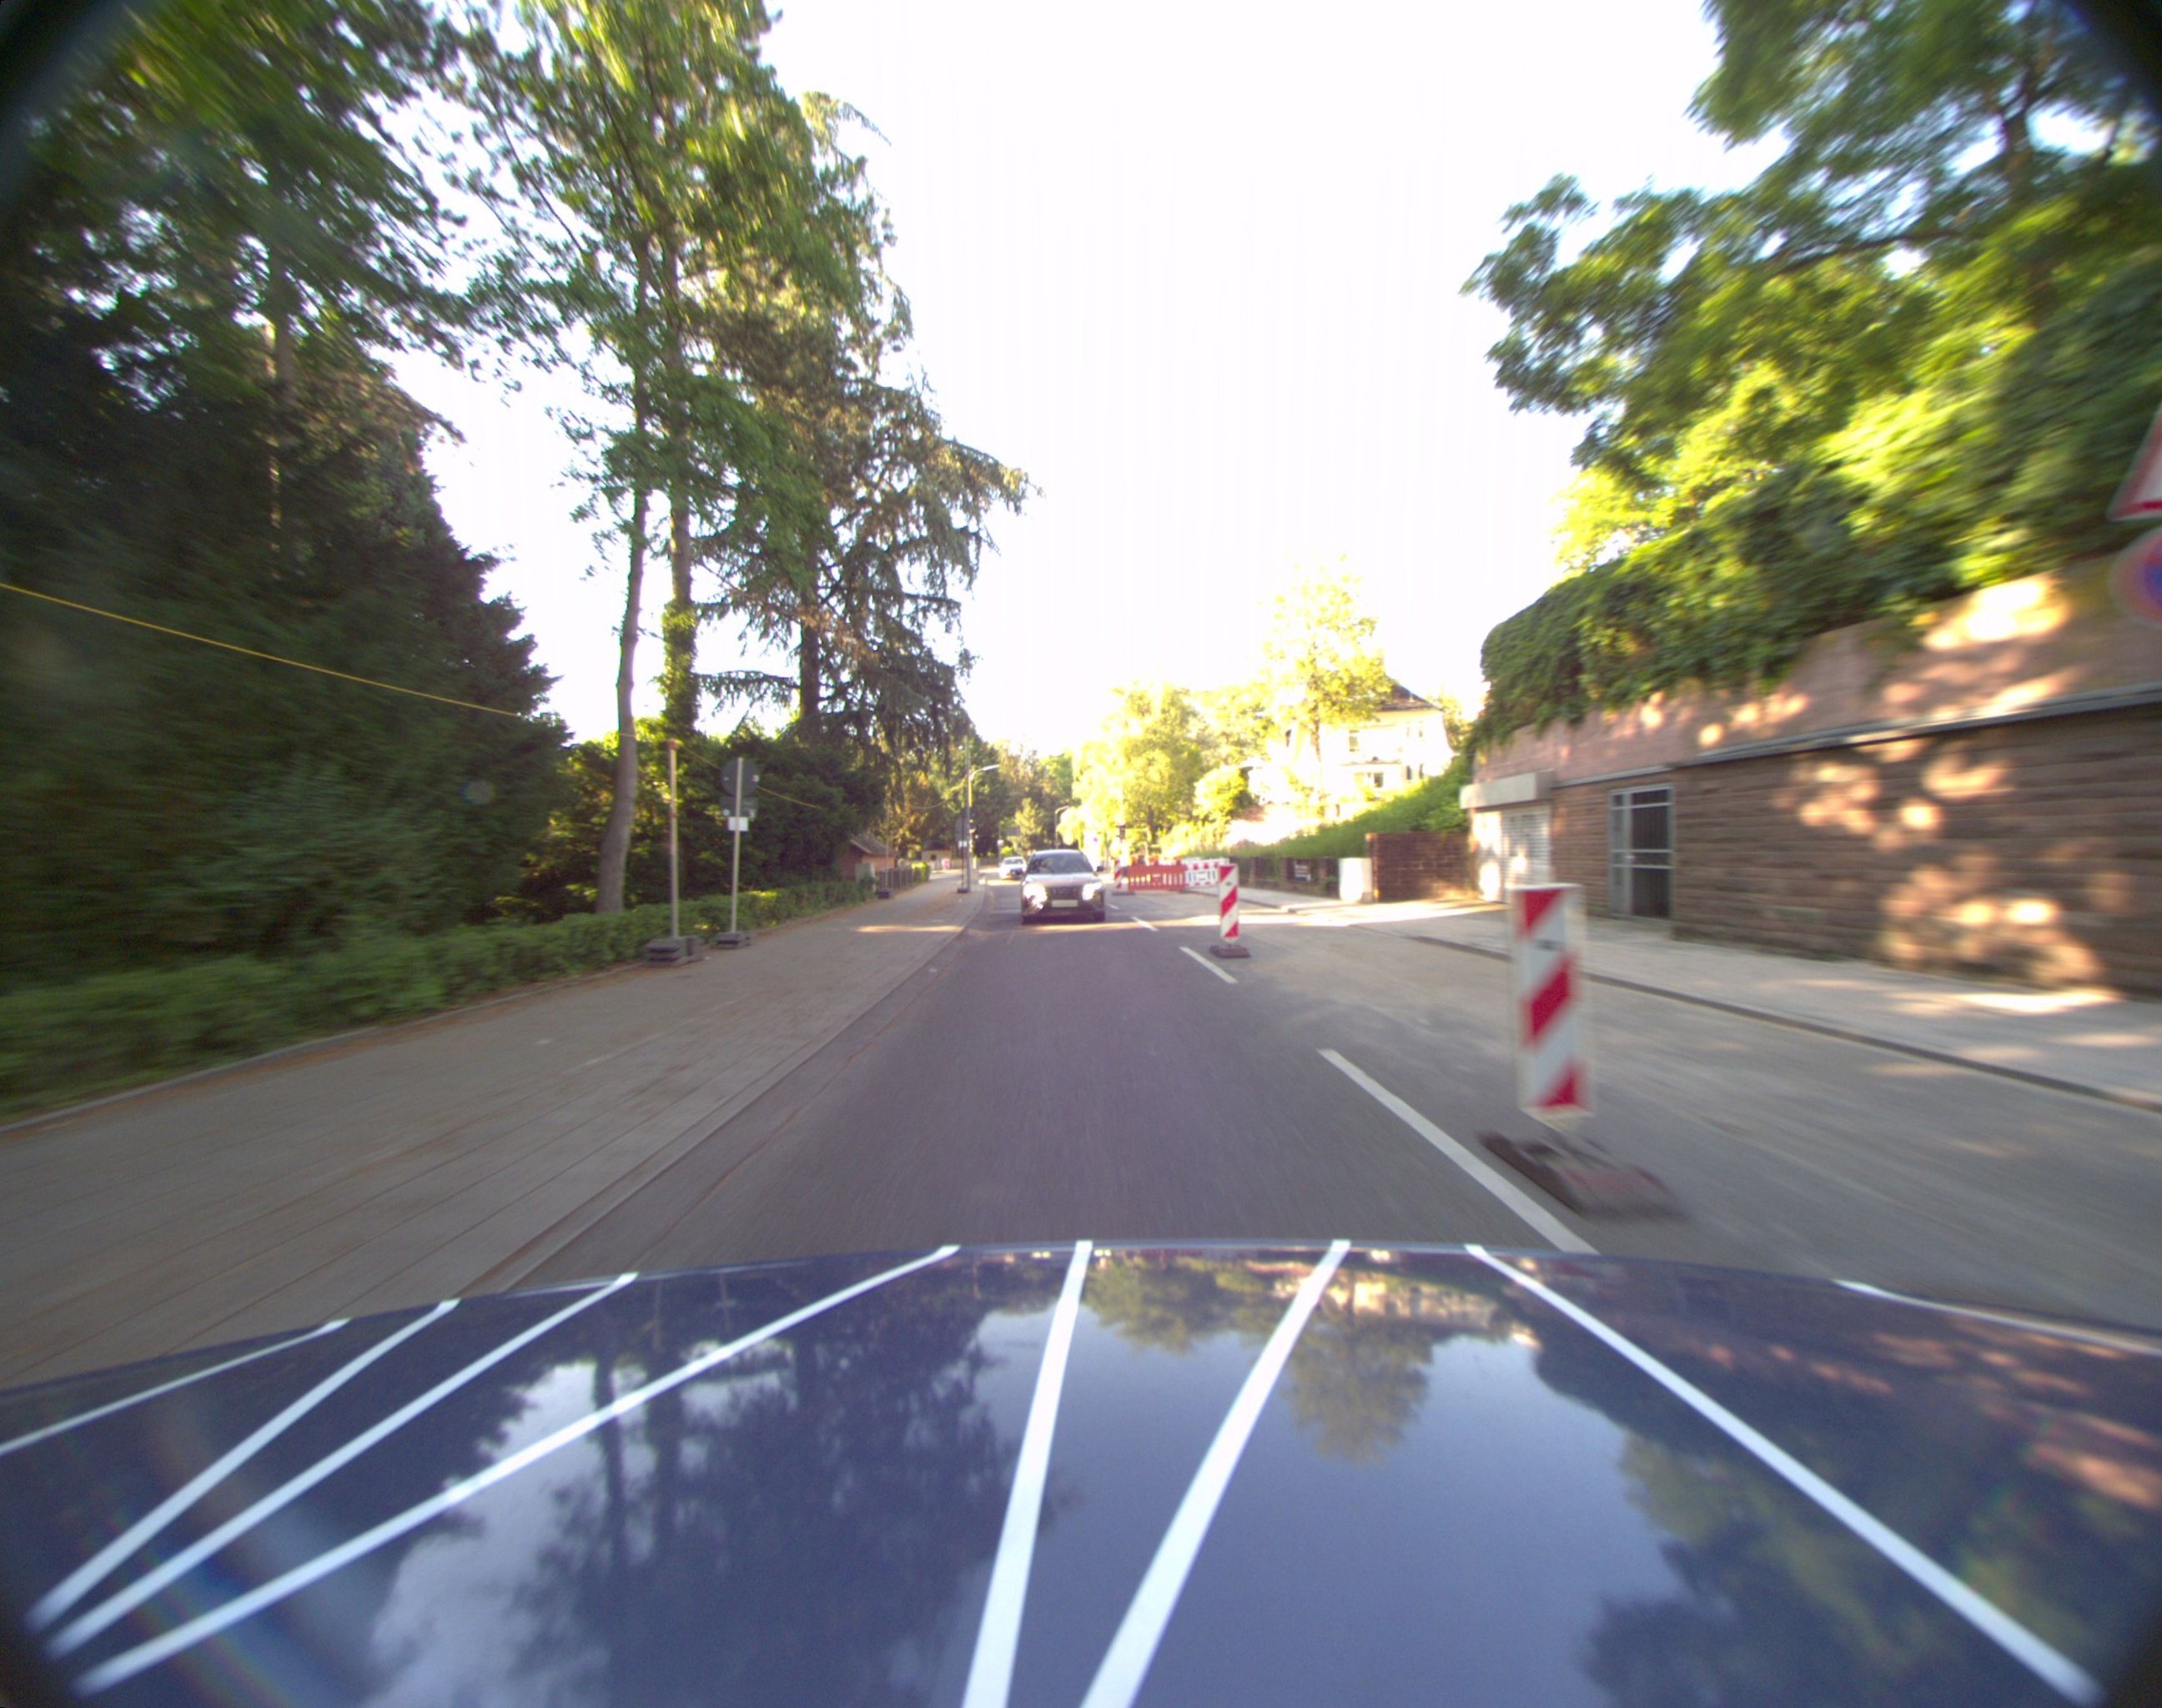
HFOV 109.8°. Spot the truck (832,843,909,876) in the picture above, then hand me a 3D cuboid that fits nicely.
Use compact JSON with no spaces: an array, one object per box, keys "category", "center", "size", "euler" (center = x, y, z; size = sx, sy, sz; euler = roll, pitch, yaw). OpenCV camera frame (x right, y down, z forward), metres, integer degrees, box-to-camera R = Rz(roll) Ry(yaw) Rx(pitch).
[{"category":"truck","center":[-19.804,0.479,71.476],"size":[6.500,2.736,2.372],"euler":[-3,1,14]}]

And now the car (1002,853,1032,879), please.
[{"category":"car","center":[-4.114,0.728,48.553],"size":[1.663,1.468,3.680],"euler":[-2,1,-7]}]

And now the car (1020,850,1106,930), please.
[{"category":"car","center":[-0.549,0.762,18.351],"size":[1.789,1.639,4.472],"euler":[-2,0,-4]}]
